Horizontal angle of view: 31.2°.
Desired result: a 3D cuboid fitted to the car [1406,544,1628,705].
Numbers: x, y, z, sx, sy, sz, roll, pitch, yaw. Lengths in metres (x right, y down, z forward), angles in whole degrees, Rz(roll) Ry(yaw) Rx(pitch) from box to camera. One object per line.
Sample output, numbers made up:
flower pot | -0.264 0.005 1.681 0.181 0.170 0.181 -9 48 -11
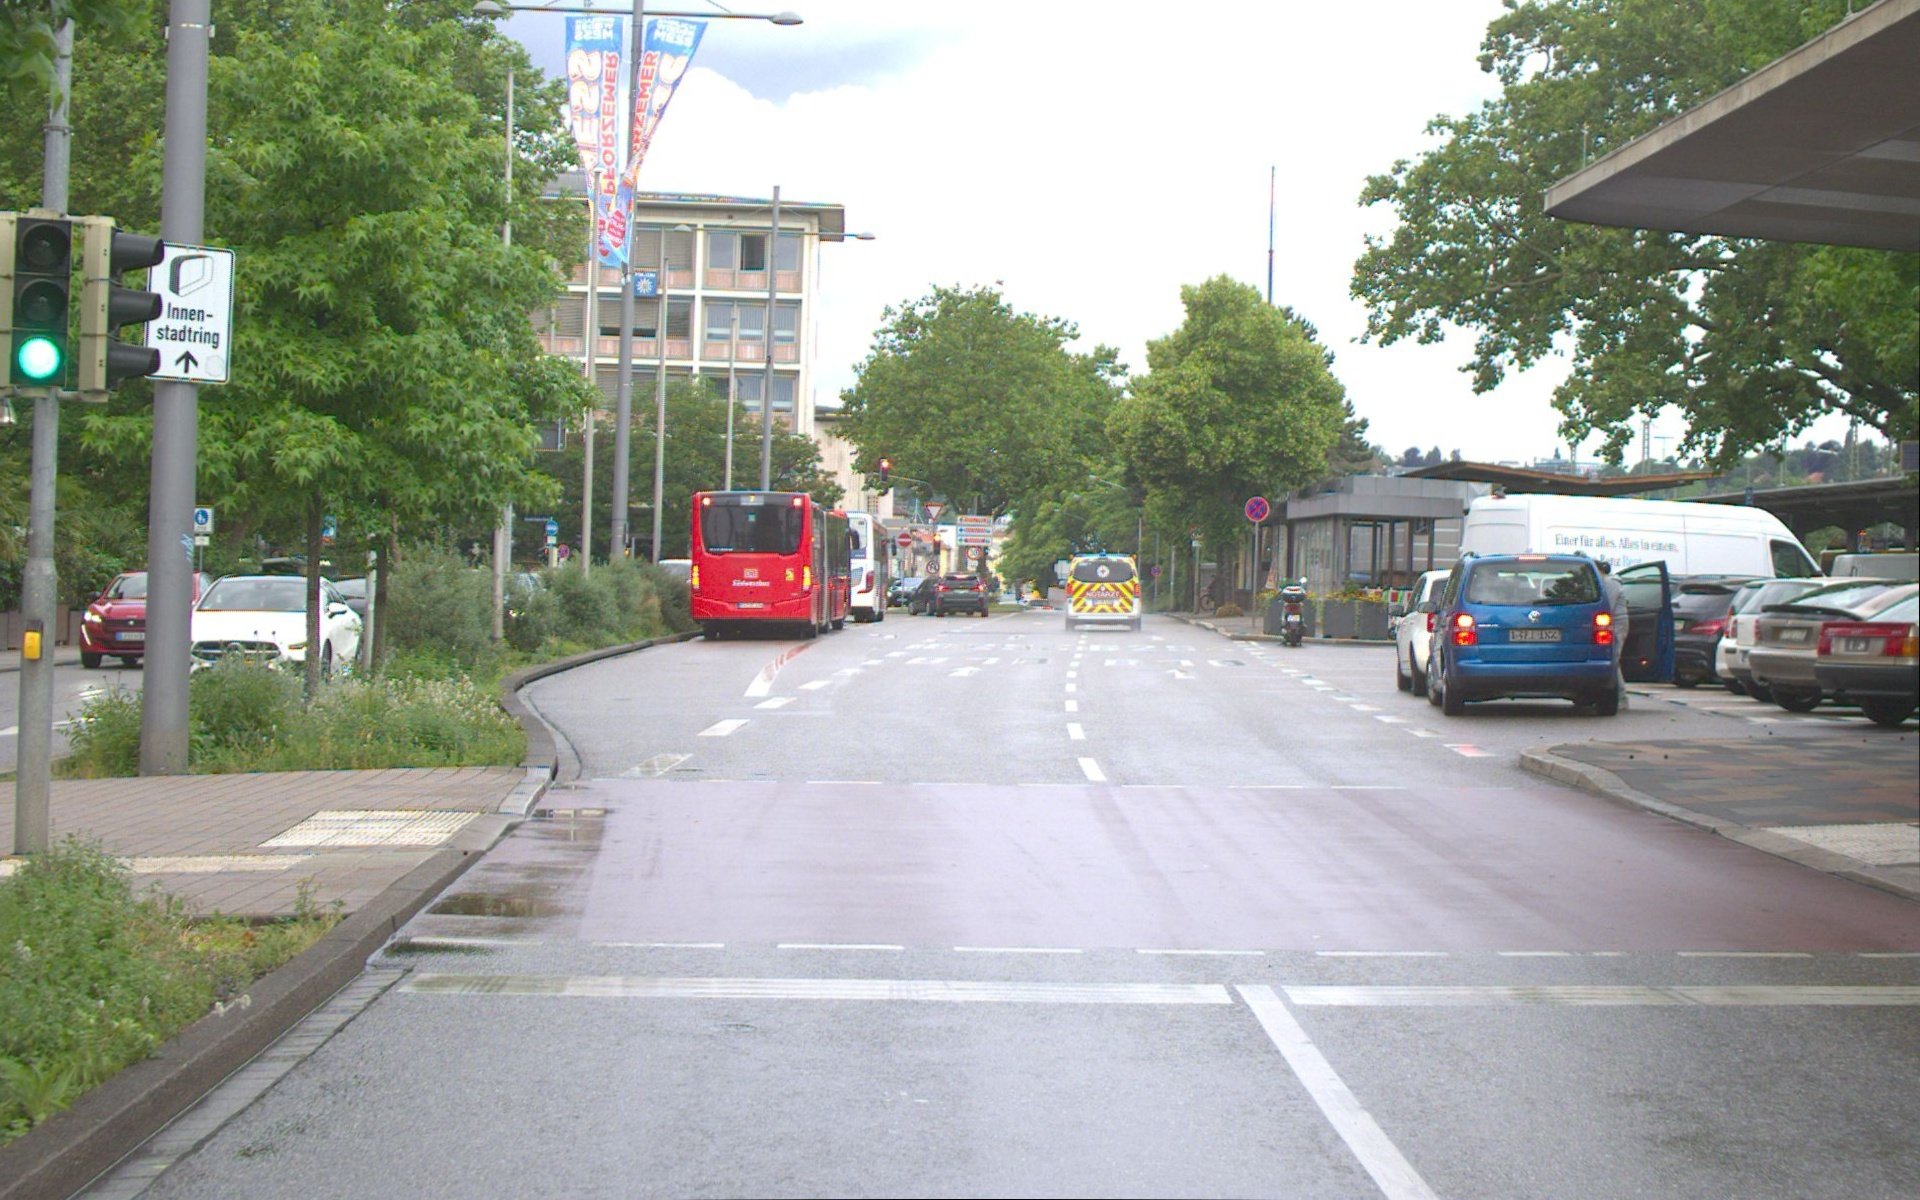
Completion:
car | 5.669 0.230 35.391 1.859 1.564 3.999 0 0 3

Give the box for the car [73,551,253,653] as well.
car | -11.797 0.004 51.092 1.747 1.425 3.953 -1 1 0

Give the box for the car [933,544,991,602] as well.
car | 0.065 -0.976 122.973 1.993 2.007 4.000 -1 1 0

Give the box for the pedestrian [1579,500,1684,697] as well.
pedestrian | 6.989 -0.023 35.816 0.831 2.007 0.889 -1 0 -5

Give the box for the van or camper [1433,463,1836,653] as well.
van or camper | 10.365 -0.671 52.733 5.946 2.753 2.199 -1 1 -27

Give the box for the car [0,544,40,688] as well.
car | -11.193 0.196 35.742 1.993 1.538 4.633 -1 1 0

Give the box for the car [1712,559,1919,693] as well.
car | 10.622 0.272 38.586 3.986 1.438 1.865 0 0 -27

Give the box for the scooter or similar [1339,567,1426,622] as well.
scooter or similar | 8.847 -0.124 71.974 2.145 1.106 0.443 -1 1 -39

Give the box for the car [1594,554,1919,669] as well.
car | 10.394 0.141 44.489 3.986 1.438 1.865 0 0 -27

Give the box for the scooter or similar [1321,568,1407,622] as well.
scooter or similar | 8.500 -0.118 72.341 2.145 1.106 0.427 -1 1 -39

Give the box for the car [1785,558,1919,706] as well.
car | 10.062 0.284 32.276 4.184 1.321 1.841 0 0 -20

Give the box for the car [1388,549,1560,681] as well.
car | 6.135 0.165 41.347 1.788 1.517 3.681 0 0 4

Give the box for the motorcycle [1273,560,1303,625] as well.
motorcycle | 6.634 -0.167 69.623 0.595 1.284 1.953 0 1 5

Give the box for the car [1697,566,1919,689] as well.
car | 11.160 0.322 41.854 3.986 1.438 1.865 0 0 -27

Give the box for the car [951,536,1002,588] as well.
car | 0.639 -1.533 138.522 1.993 2.007 4.000 -1 1 0

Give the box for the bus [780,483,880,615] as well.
bus | -3.921 -1.512 103.791 2.805 3.734 10.446 1 1 -2

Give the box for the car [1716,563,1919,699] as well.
car | 10.052 0.304 35.942 3.987 1.354 1.865 0 0 -31

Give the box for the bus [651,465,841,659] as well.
bus | -4.637 -0.852 76.998 3.545 3.966 11.172 -1 1 0

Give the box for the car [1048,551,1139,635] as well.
car | 3.336 -0.197 86.952 1.993 2.007 5.062 -1 1 -1

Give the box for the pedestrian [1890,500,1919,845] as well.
pedestrian | 5.216 0.364 17.318 0.746 1.741 0.836 0 0 -8

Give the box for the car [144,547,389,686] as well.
car | -8.250 0.162 41.327 1.993 1.538 4.633 -1 1 0
